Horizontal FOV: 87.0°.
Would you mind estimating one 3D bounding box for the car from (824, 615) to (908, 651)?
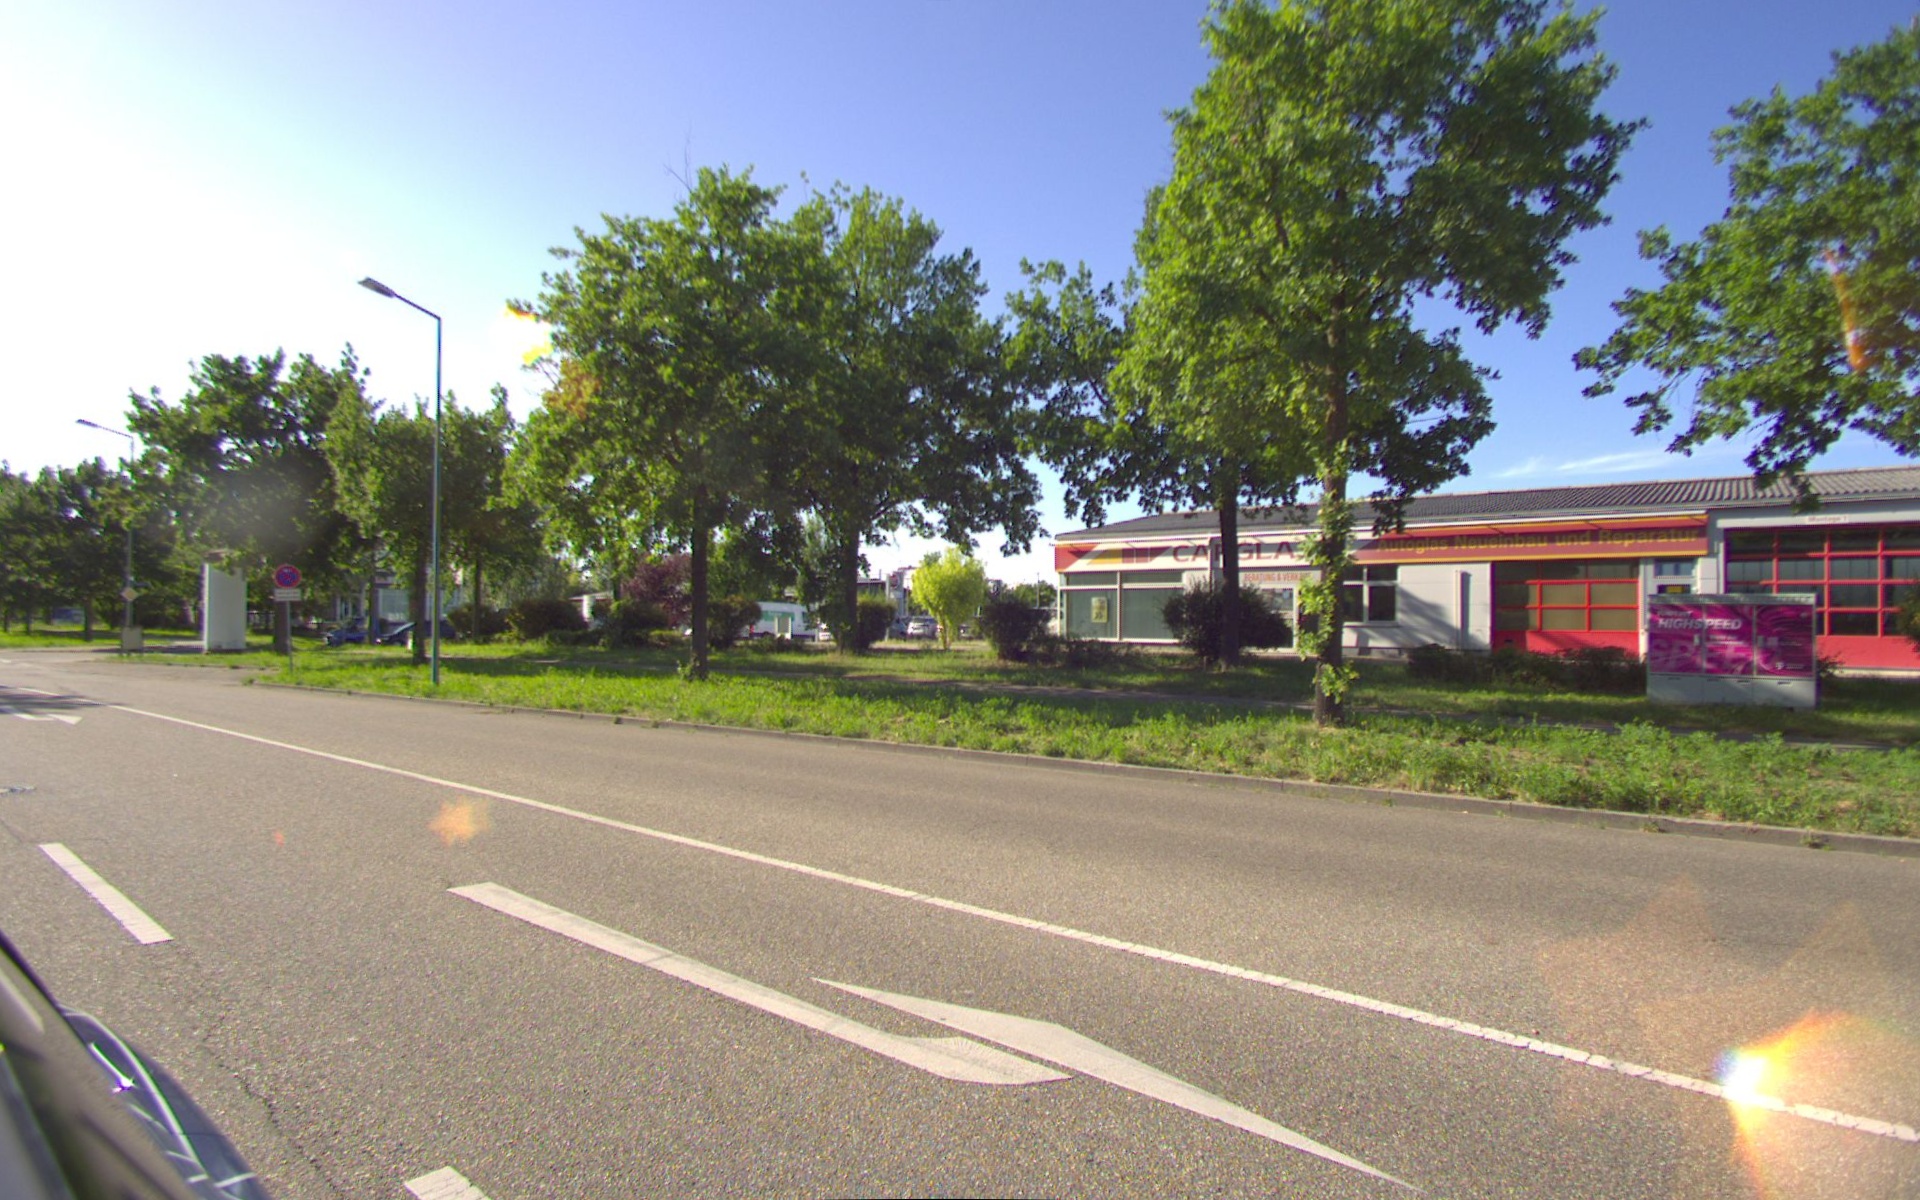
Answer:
[{"bbox_3d":[-5.134,1.777,55.791,1.989,1.795,4.583,-1,0,40],"label":"car"}]

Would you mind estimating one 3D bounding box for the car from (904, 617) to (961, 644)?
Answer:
[{"bbox_3d":[-1.859,2.063,68.625,1.761,1.684,3.811,-1,0,40],"label":"car"}]

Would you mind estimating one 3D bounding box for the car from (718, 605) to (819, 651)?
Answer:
[{"bbox_3d":[-11.440,1.607,61.003,2.406,2.574,5.952,-1,0,36],"label":"car"}]

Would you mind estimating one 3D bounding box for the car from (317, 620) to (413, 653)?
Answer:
[{"bbox_3d":[-35.959,2.162,61.239,1.999,1.847,4.578,-1,0,41],"label":"car"}]

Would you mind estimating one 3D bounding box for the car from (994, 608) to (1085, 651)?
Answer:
[{"bbox_3d":[3.223,1.164,40.606,1.734,1.583,3.769,-3,-1,40],"label":"car"}]

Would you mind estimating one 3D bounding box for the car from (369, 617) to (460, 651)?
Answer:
[{"bbox_3d":[-32.727,2.005,60.813,1.999,1.847,4.406,-1,0,41],"label":"car"}]
